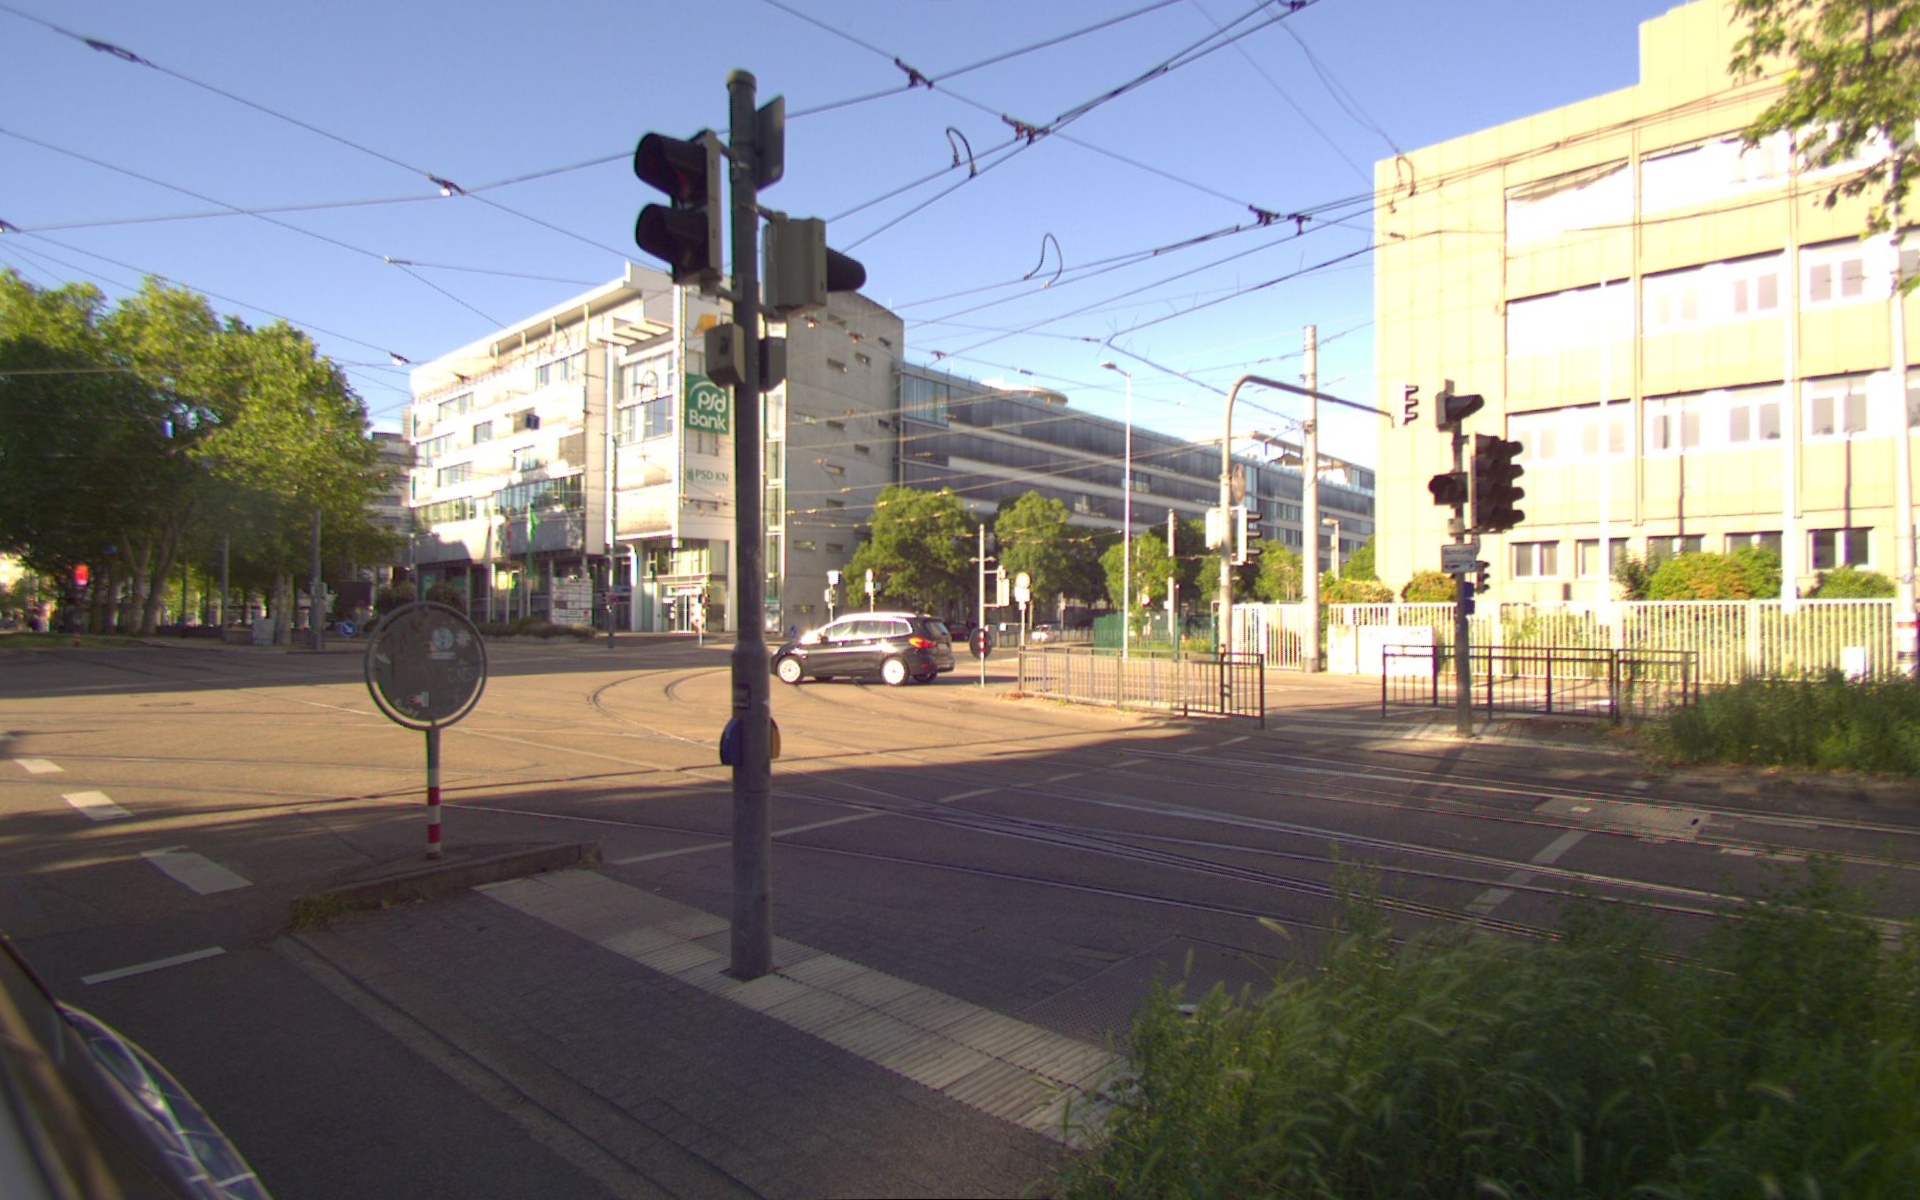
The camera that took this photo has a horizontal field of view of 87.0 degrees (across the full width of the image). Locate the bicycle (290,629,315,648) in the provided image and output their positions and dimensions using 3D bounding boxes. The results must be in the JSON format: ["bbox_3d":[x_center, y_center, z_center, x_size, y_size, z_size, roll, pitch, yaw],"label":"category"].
[{"bbox_3d":[-32.864,1.926,50.578,0.803,0.953,1.728,2,-2,-42],"label":"bicycle"}]

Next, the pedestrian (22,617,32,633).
[{"bbox_3d":[-104.152,2.762,112.950,0.675,1.767,0.649,-1,-2,34],"label":"pedestrian"}]

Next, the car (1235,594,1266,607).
[{"bbox_3d":[32.574,0.112,113.588,1.998,1.357,3.947,-1,-2,39],"label":"car"}]

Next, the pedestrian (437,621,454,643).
[{"bbox_3d":[-37.820,2.376,74.370,0.767,1.604,0.896,-1,-3,42],"label":"pedestrian"}]

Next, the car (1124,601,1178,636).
[{"bbox_3d":[14.490,1.421,76.628,2.180,2.524,4.343,-1,-2,39],"label":"car"}]

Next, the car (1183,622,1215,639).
[{"bbox_3d":[24.570,3.134,103.943,1.734,1.666,3.749,-1,-2,39],"label":"car"}]

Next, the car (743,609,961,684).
[{"bbox_3d":[-2.520,1.055,23.710,4.722,1.629,1.985,0,-2,22],"label":"car"}]

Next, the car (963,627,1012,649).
[{"bbox_3d":[2.141,2.942,78.699,1.734,1.666,3.899,-1,-2,41],"label":"car"}]

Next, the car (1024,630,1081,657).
[{"bbox_3d":[6.108,2.869,66.791,2.104,1.710,3.923,-1,-2,35],"label":"car"}]

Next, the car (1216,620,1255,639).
[{"bbox_3d":[23.521,2.521,86.326,1.752,1.570,3.898,-1,-2,39],"label":"car"}]

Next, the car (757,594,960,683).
[{"bbox_3d":[-2.360,0.907,23.937,4.384,1.962,1.990,-1,-2,16],"label":"car"}]
